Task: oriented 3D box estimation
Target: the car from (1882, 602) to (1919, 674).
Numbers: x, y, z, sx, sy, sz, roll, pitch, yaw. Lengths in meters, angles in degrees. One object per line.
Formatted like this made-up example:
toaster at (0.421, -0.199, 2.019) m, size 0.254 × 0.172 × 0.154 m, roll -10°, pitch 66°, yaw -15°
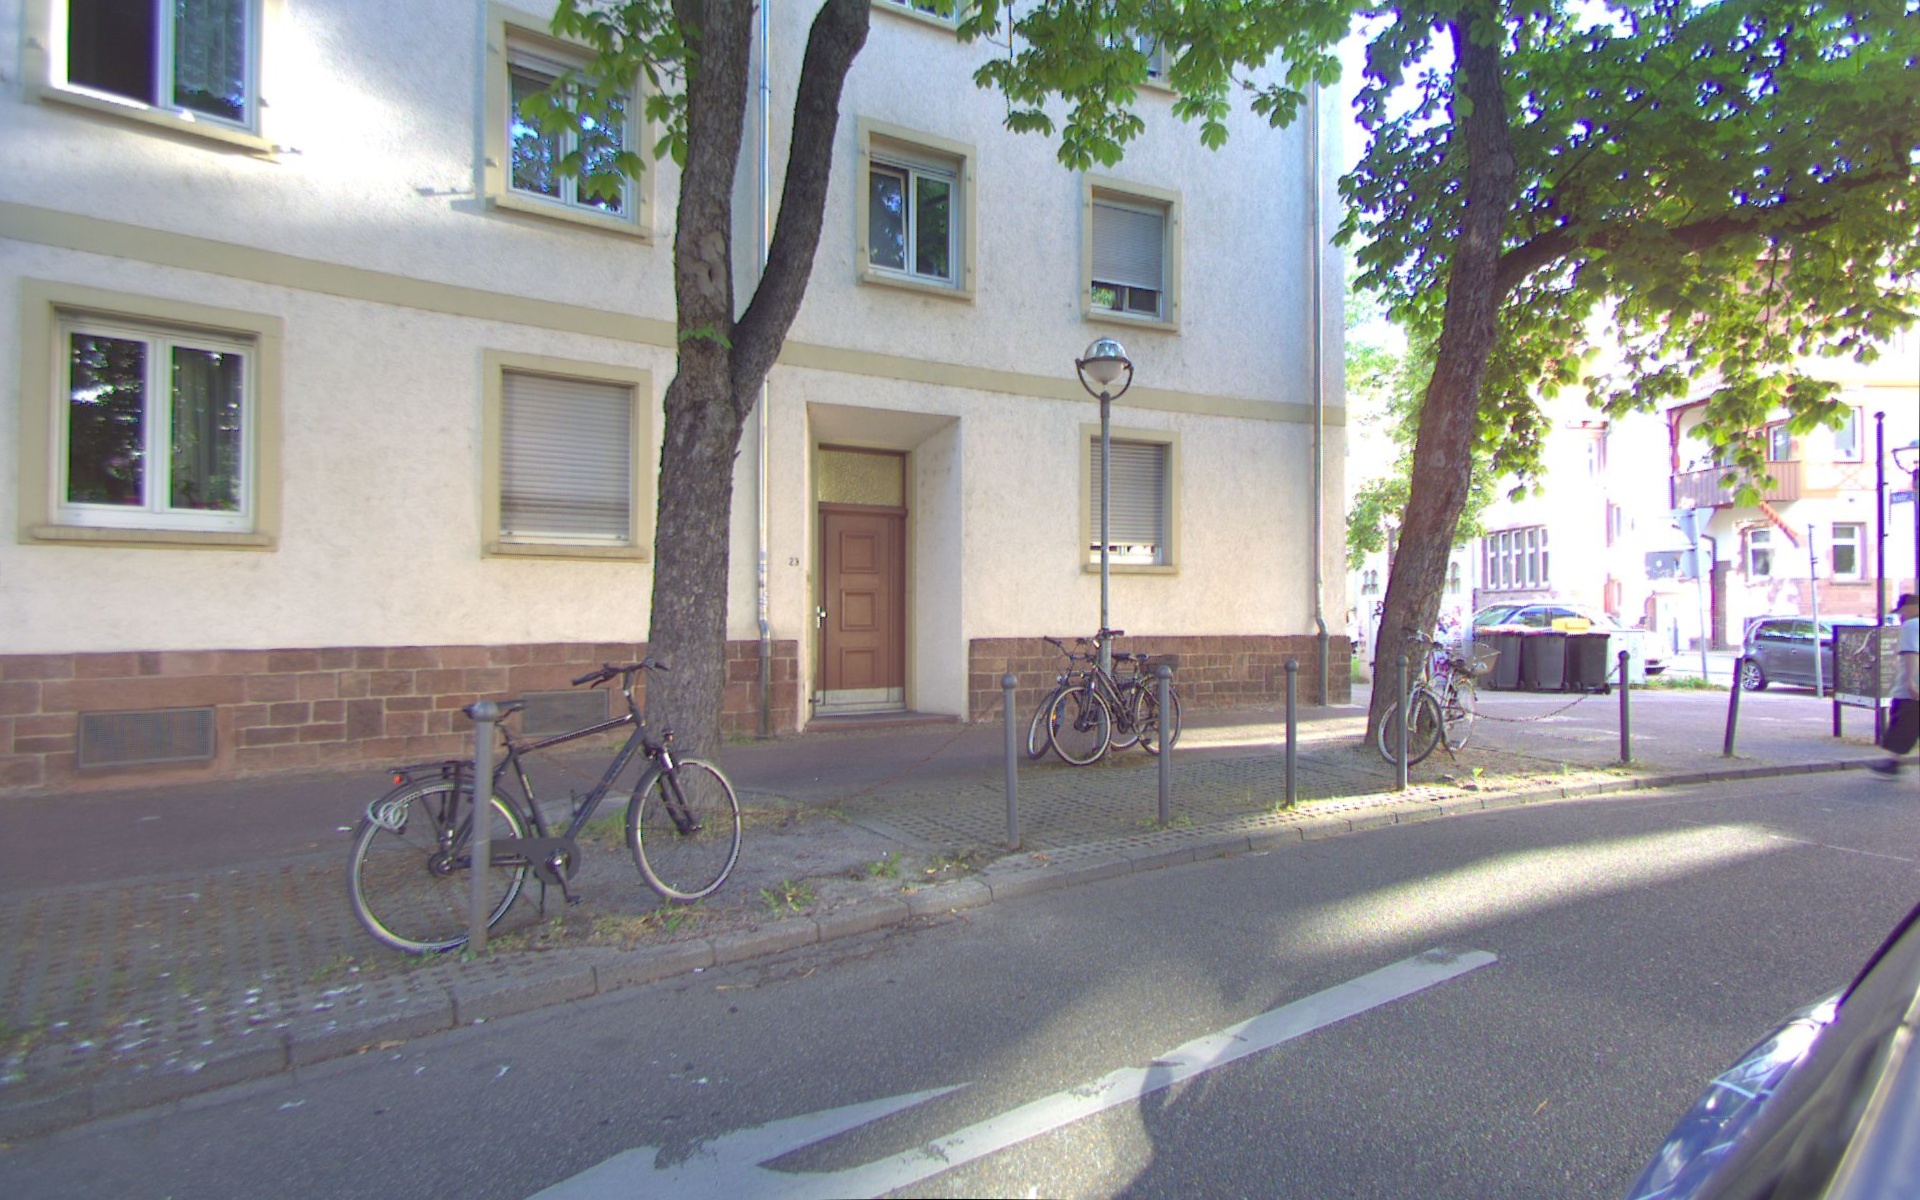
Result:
car at (21.608, 0.826, 21.231) m, size 1.463 × 1.559 × 3.217 m, roll 1°, pitch 0°, yaw -3°

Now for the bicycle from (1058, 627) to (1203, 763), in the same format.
bicycle at (1.559, 0.812, 9.104) m, size 1.607 × 1.108 × 0.334 m, roll 0°, pitch -1°, yaw -41°

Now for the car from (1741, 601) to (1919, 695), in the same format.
car at (16.845, 0.829, 18.625) m, size 1.663 × 1.572 × 4.053 m, roll 0°, pitch -1°, yaw -3°

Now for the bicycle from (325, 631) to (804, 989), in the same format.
bicycle at (-1.686, 0.783, 4.557) m, size 1.882 × 1.238 × 0.718 m, roll 0°, pitch -1°, yaw -43°

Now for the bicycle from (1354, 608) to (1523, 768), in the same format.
bicycle at (4.425, 0.733, 9.296) m, size 1.871 × 1.321 × 0.766 m, roll 0°, pitch -1°, yaw -43°

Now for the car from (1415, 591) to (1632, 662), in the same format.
car at (12.014, 0.549, 21.715) m, size 3.728 × 1.443 × 1.677 m, roll 0°, pitch -1°, yaw -5°

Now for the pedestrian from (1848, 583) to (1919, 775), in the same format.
pedestrian at (8.338, 0.664, 8.668) m, size 0.630 × 1.613 × 0.945 m, roll 0°, pitch -1°, yaw -33°

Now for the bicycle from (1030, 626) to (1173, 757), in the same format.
bicycle at (1.345, 0.810, 9.422) m, size 1.607 × 1.108 × 0.334 m, roll 0°, pitch -1°, yaw -41°

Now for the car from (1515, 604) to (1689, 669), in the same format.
car at (16.745, 0.922, 26.682) m, size 1.771 × 1.572 × 4.187 m, roll 0°, pitch -1°, yaw -3°
